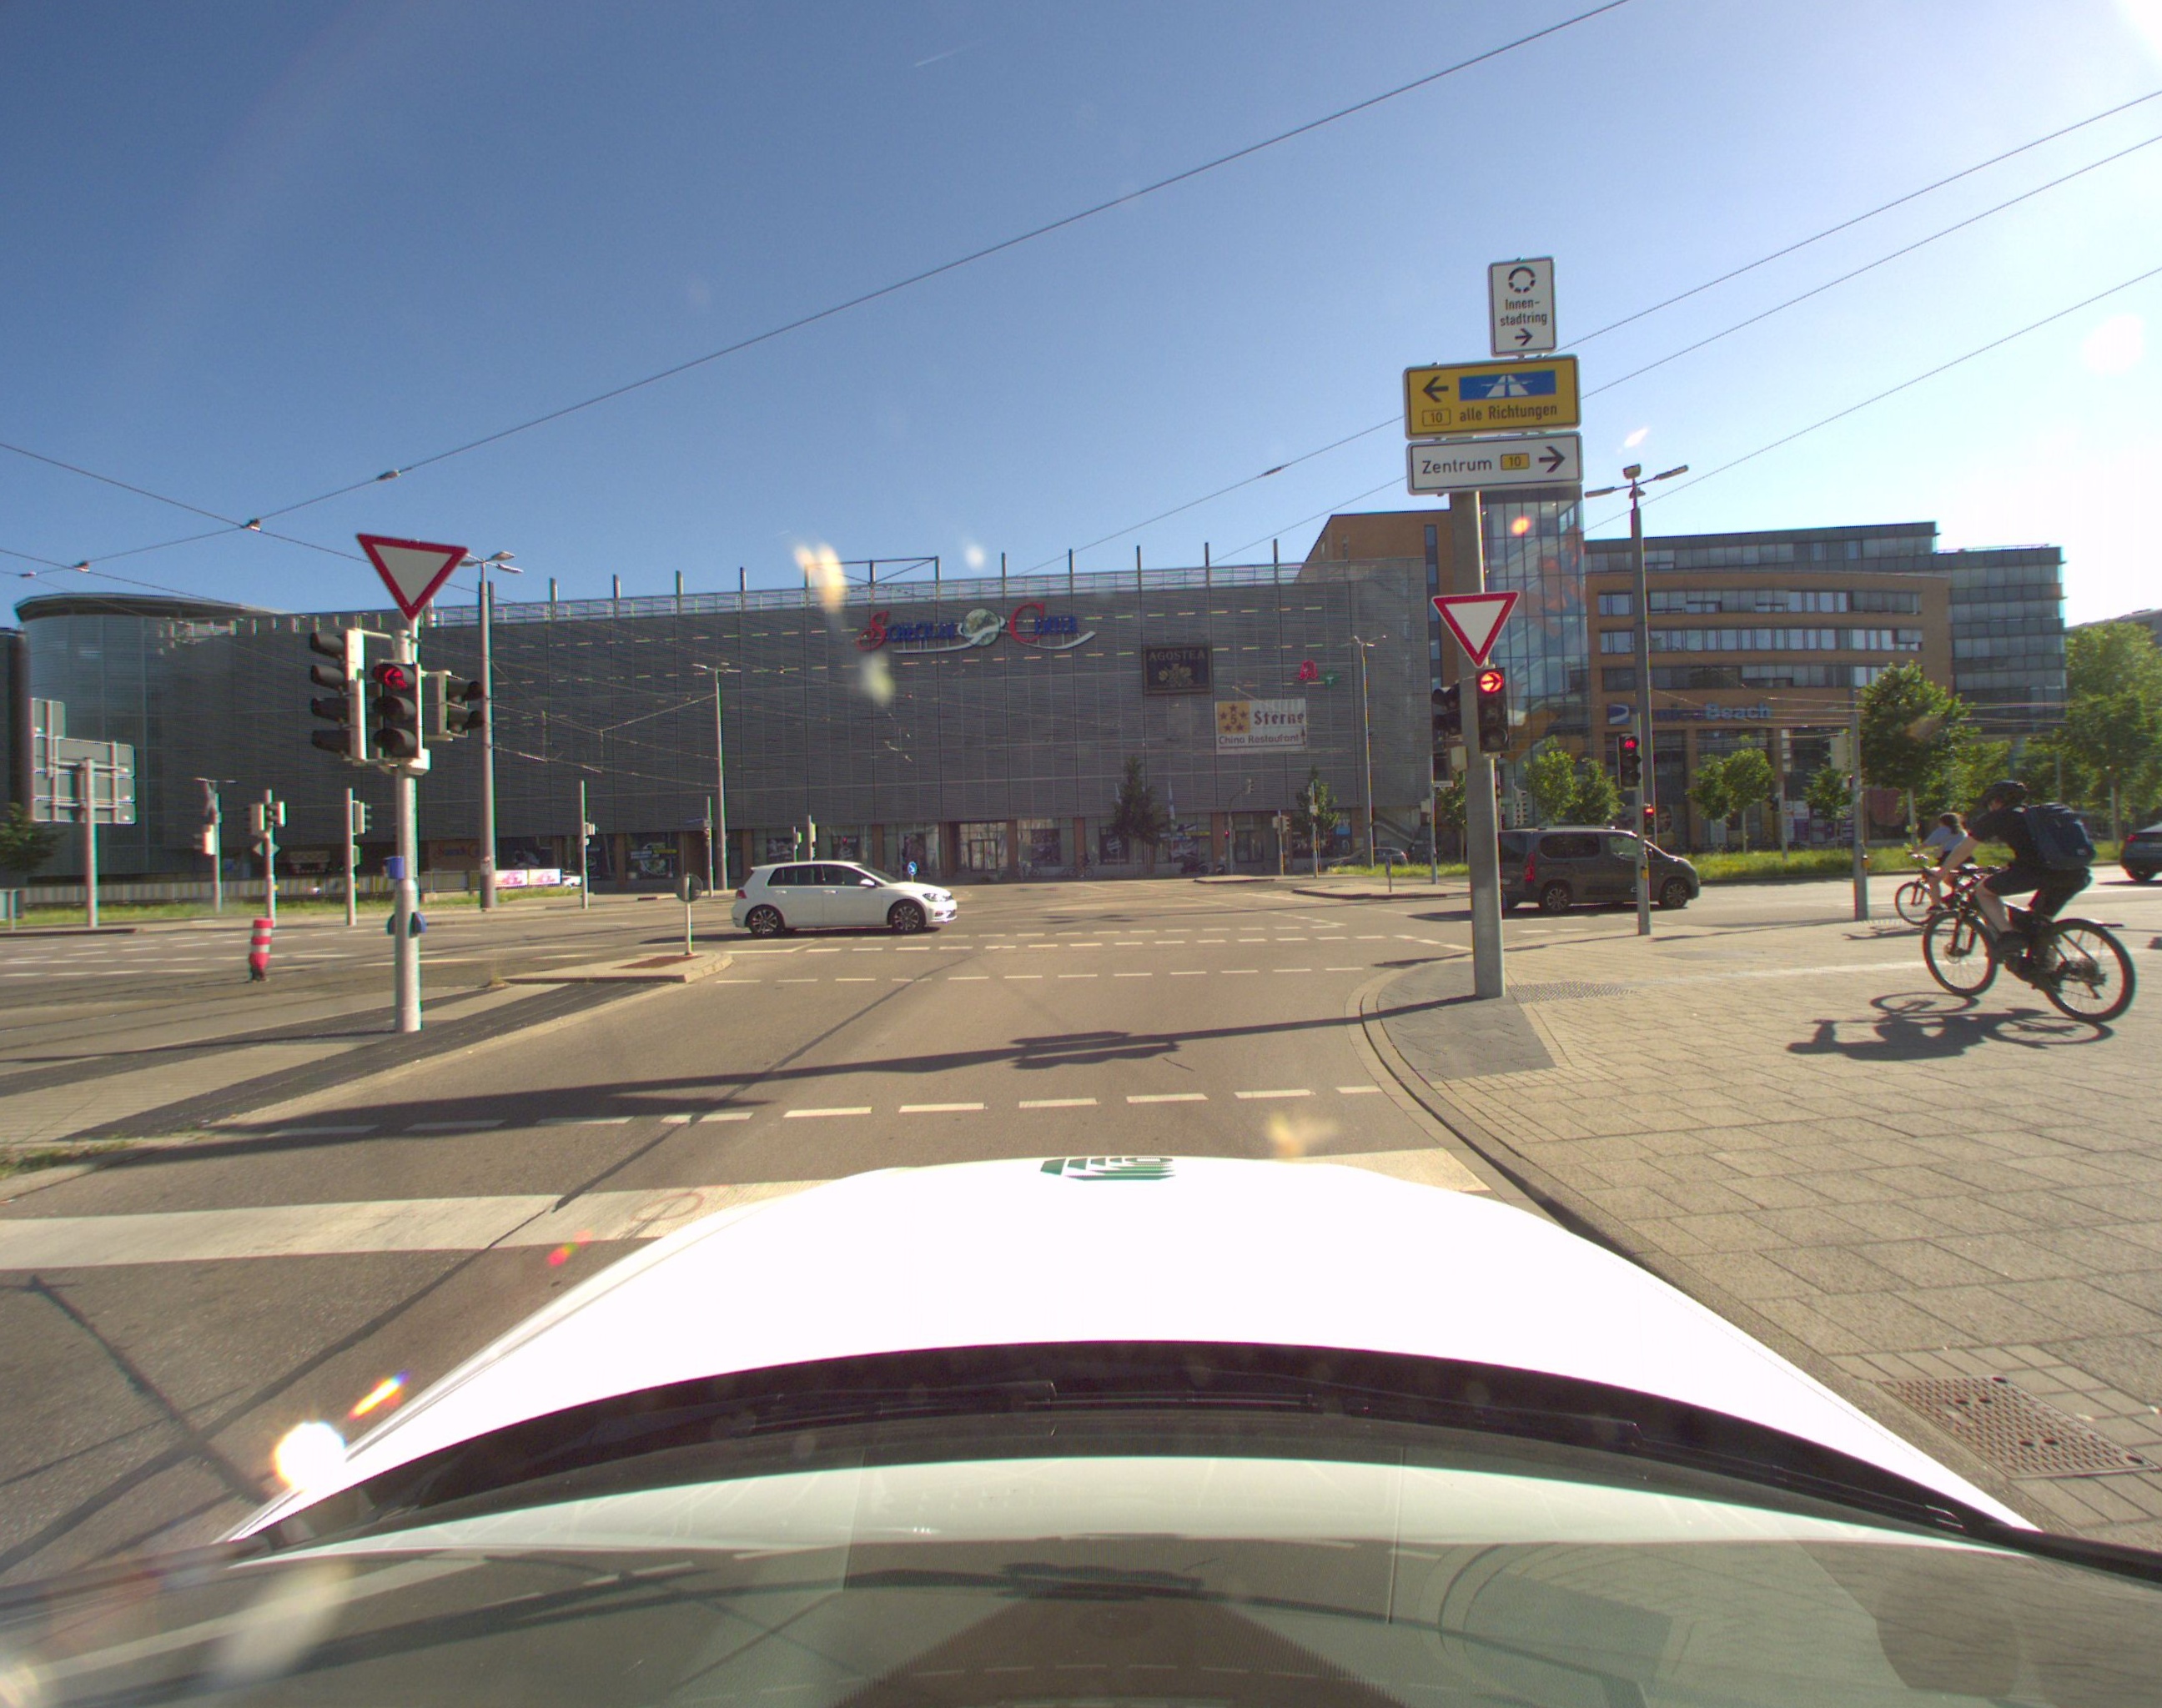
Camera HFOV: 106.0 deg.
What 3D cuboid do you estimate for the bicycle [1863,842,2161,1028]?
[{"bbox_3d":[7.205,0.523,6.317,0.631,1.197,2.162,-2,0,14],"label":"bicycle"}]

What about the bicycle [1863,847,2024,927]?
[{"bbox_3d":[12.433,0.462,11.832,0.662,1.072,1.826,-2,-1,12],"label":"bicycle"}]

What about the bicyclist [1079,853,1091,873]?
[{"bbox_3d":[0.300,0.641,58.392,0.750,1.386,0.566,-2,1,1],"label":"bicyclist"}]

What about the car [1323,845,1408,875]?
[{"bbox_3d":[15.888,0.346,45.621,4.132,1.470,1.841,2,-1,0],"label":"car"}]

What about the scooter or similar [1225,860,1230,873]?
[{"bbox_3d":[9.926,0.867,55.009,0.293,0.873,1.007,-1,-1,12],"label":"scooter or similar"}]

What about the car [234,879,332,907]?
[{"bbox_3d":[-50.008,2.430,51.089,4.274,1.584,1.841,2,-1,1],"label":"car"}]

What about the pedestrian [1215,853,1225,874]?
[{"bbox_3d":[9.410,0.628,55.204,0.650,1.414,0.853,-1,-1,12],"label":"pedestrian"}]

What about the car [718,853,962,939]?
[{"bbox_3d":[-4.616,0.777,16.175,4.274,1.472,1.863,-2,0,-4],"label":"car"}]

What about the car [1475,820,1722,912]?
[{"bbox_3d":[11.176,0.236,17.730,4.453,1.791,1.705,-2,0,-7],"label":"car"}]

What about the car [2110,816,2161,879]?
[{"bbox_3d":[27.878,-0.183,19.693,4.258,1.514,1.706,-1,0,-6],"label":"car"}]

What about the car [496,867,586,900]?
[{"bbox_3d":[-33.364,1.808,50.395,4.311,1.863,1.841,-1,-1,1],"label":"car"}]

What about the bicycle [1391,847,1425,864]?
[{"bbox_3d":[24.348,0.108,60.620,2.247,1.296,0.606,0,-1,0],"label":"bicycle"}]

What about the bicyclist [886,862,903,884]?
[{"bbox_3d":[-12.623,1.273,55.239,0.667,1.427,0.855,-1,2,45],"label":"bicyclist"}]

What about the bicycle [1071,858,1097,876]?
[{"bbox_3d":[0.213,0.943,58.427,1.850,1.217,0.569,-2,1,1],"label":"bicycle"}]

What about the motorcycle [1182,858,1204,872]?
[{"bbox_3d":[8.318,0.828,60.597,1.630,1.004,0.448,0,0,8],"label":"motorcycle"}]

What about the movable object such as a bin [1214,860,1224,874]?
[{"bbox_3d":[9.277,0.879,54.741,0.608,0.904,0.972,-1,-1,12],"label":"movable object such as a bin"}]

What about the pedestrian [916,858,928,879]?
[{"bbox_3d":[-12.077,1.108,61.744,0.654,1.601,0.597,-1,-1,20],"label":"pedestrian"}]

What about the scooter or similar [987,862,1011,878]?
[{"bbox_3d":[-6.178,1.202,61.233,1.790,1.066,0.611,-2,1,-6],"label":"scooter or similar"}]

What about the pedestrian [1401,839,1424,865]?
[{"bbox_3d":[24.032,-0.118,59.054,1.016,1.828,1.028,-3,0,-21],"label":"pedestrian"}]

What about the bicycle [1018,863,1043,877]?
[{"bbox_3d":[-3.776,1.172,60.792,1.815,0.989,0.556,-2,1,-8],"label":"bicycle"}]

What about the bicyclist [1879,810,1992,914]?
[{"bbox_3d":[12.403,0.130,11.857,0.662,1.436,0.943,-2,-2,14],"label":"bicyclist"}]

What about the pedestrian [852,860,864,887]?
[{"bbox_3d":[-15.197,1.309,55.464,0.695,1.797,0.727,-3,0,-14],"label":"pedestrian"}]

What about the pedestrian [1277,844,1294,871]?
[{"bbox_3d":[14.822,0.253,59.032,0.945,1.829,0.847,-3,-4,7],"label":"pedestrian"}]

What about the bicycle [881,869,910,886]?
[{"bbox_3d":[-12.580,1.583,55.312,0.562,1.086,1.874,-1,2,45],"label":"bicycle"}]

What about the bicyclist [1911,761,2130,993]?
[{"bbox_3d":[7.132,0.168,6.249,0.624,1.629,0.975,-2,-1,15],"label":"bicyclist"}]
